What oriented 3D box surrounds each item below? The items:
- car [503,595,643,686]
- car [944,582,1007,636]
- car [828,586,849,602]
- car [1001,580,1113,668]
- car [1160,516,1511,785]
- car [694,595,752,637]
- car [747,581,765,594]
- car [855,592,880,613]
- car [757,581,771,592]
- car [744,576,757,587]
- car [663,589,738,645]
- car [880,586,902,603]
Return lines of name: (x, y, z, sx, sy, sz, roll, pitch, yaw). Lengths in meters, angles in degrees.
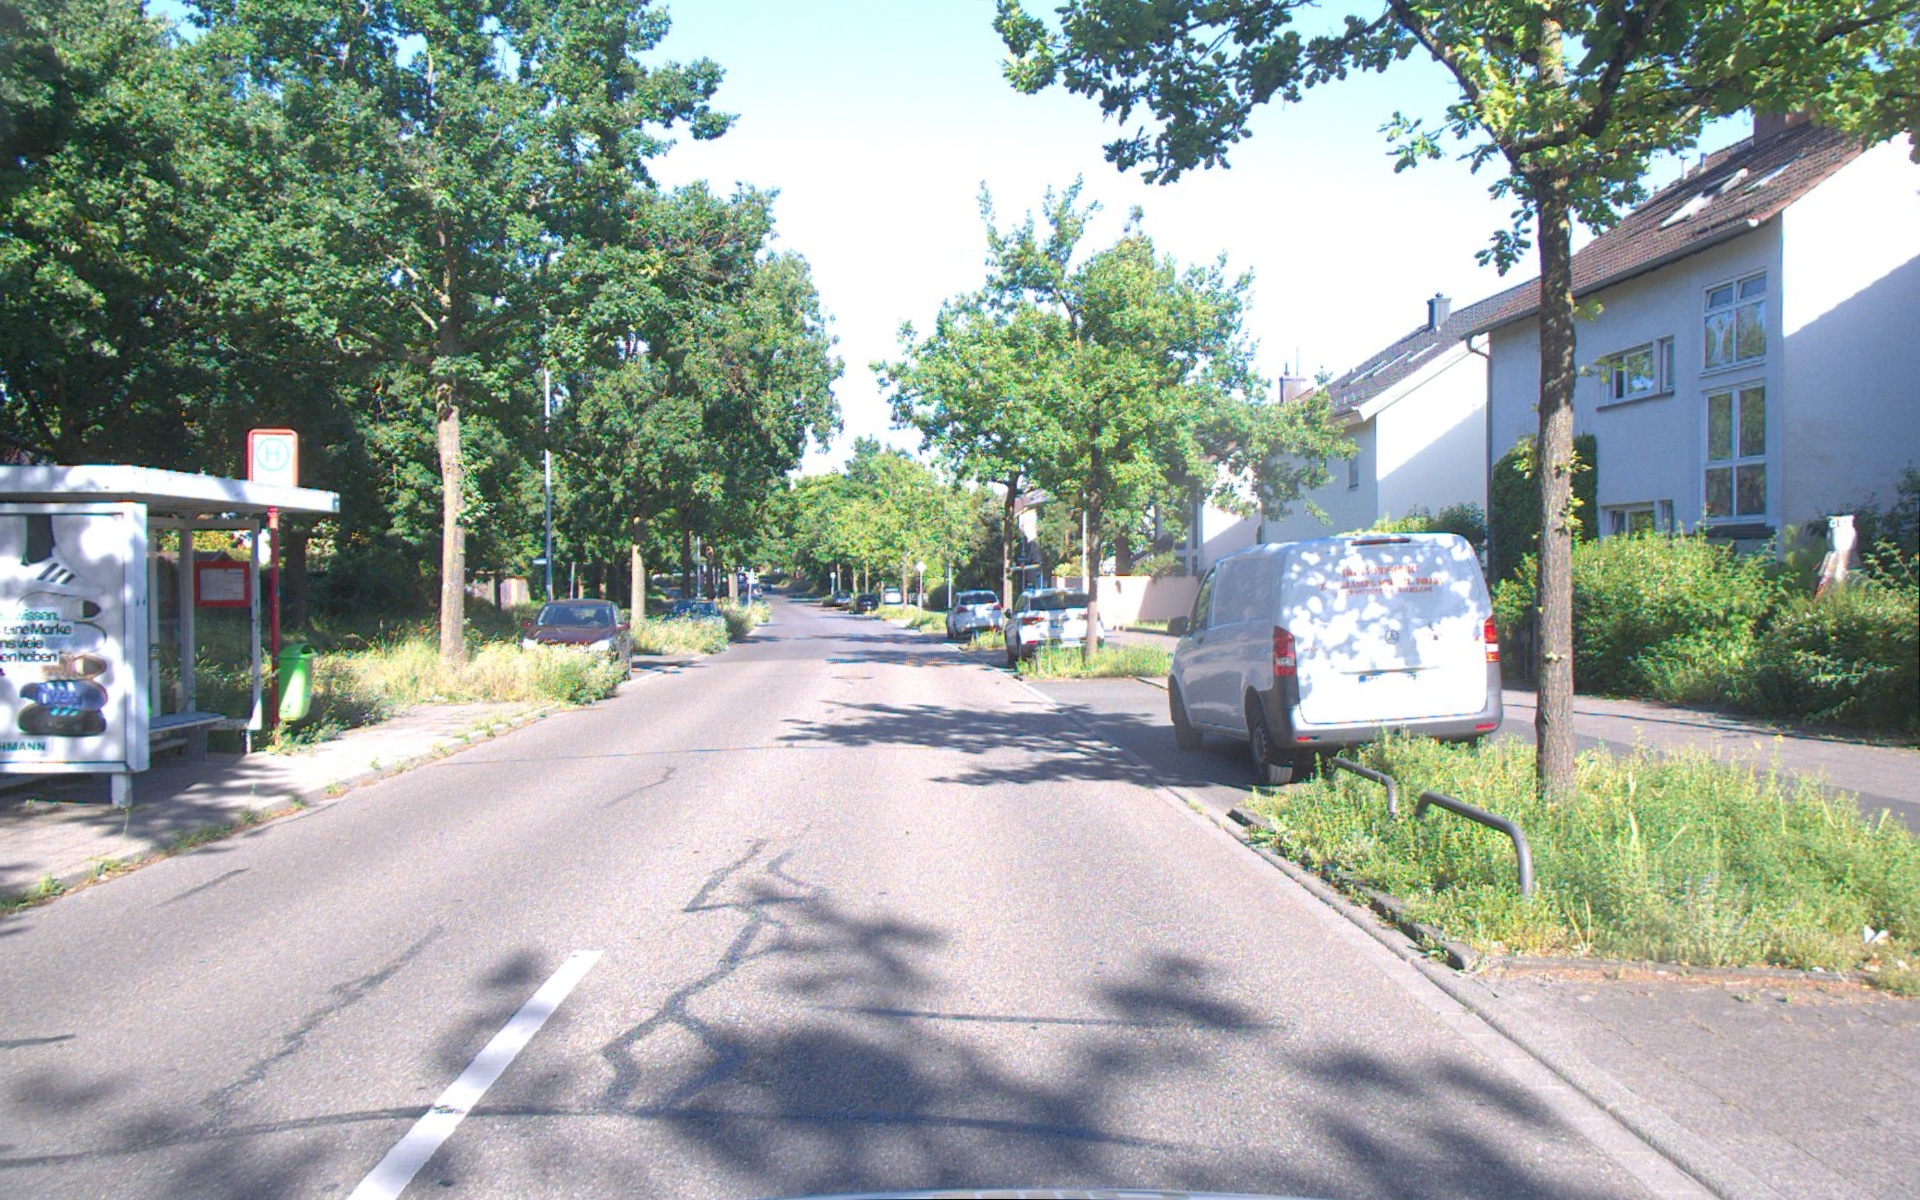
car: (-6.863, 0.672, 29.704, 1.898, 1.505, 3.996, 0, 0, -5)
car: (0.512, 0.290, 57.393, 1.895, 1.773, 3.997, 0, 0, -4)
car: (-11.342, -0.531, 154.531, 1.895, 1.479, 3.996, 0, 0, -5)
car: (1.976, 0.470, 34.901, 1.897, 1.734, 3.997, 0, 0, -4)
car: (3.117, 0.362, 14.811, 1.799, 2.005, 4.755, 0, 0, -4)
car: (-8.683, 0.570, 60.914, 1.760, 1.505, 3.518, 0, 0, -2)
car: (-23.345, -1.450, 189.271, 1.895, 1.479, 3.996, 0, 0, -5)
car: (-7.071, 0.152, 126.301, 1.895, 1.569, 3.997, 0, 0, -4)
car: (-25.835, -1.767, 218.225, 1.720, 1.479, 3.996, 0, 0, -5)
car: (-30.152, -2.692, 237.864, 1.720, 1.479, 3.996, 0, 0, -5)
car: (-7.641, 0.470, 48.950, 1.955, 1.584, 3.995, 1, 0, -6)
car: (-6.352, -0.521, 152.311, 1.895, 1.479, 3.996, 0, 0, -5)
